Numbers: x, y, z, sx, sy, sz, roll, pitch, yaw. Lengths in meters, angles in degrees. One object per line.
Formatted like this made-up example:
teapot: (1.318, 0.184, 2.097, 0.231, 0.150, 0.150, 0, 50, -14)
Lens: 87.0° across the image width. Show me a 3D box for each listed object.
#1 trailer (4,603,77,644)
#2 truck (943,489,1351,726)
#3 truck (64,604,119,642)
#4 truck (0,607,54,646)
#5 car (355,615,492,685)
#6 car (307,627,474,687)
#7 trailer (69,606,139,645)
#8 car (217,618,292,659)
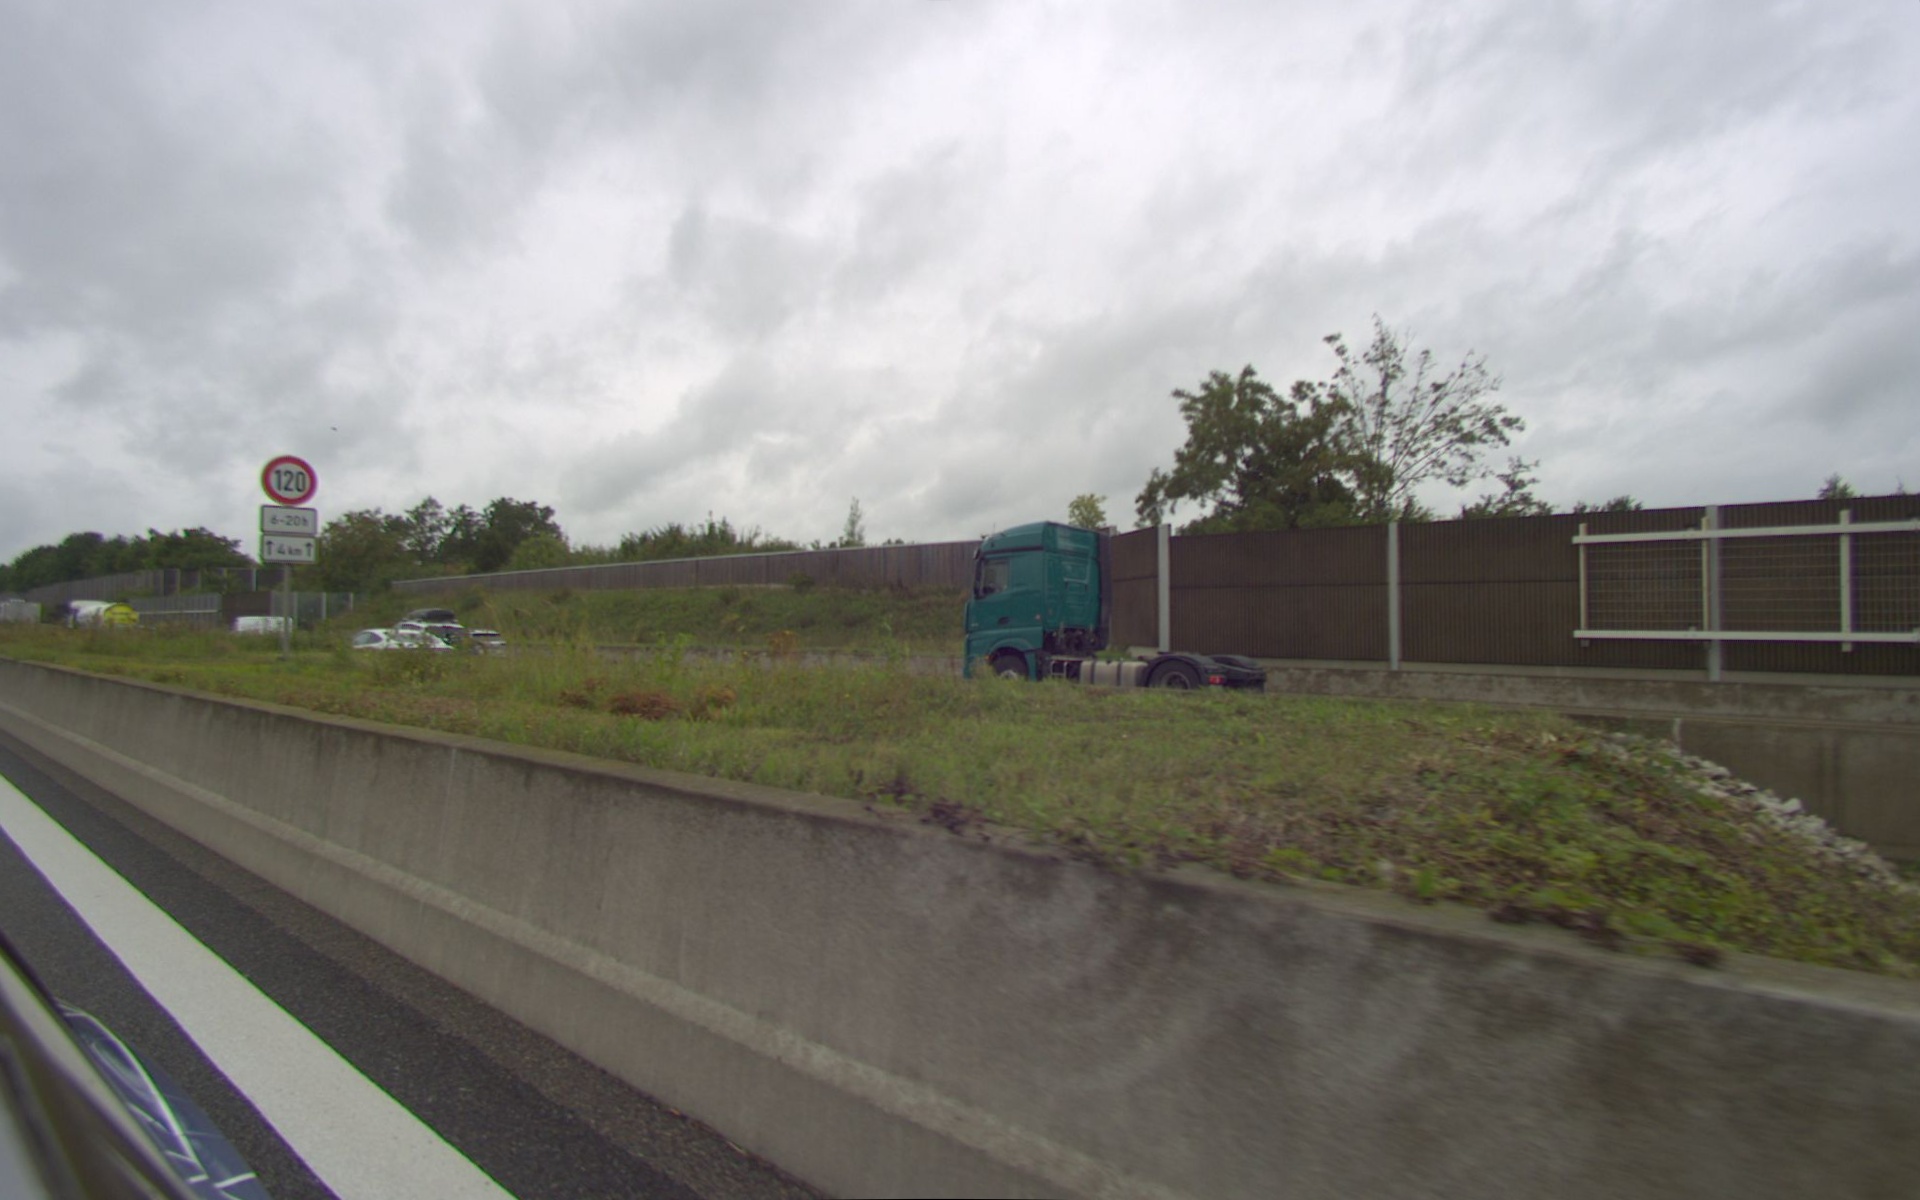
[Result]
trailer: (-70.996, 1.794, 78.034, 10.563, 2.981, 2.925, -1, 0, 41)
truck: (3.426, 0.160, 20.036, 7.517, 3.867, 2.833, -1, 0, 40)
truck: (-73.857, 1.946, 86.042, 5.607, 3.042, 2.596, -1, 0, 39)
truck: (-78.223, 2.192, 84.384, 8.722, 3.090, 2.925, -1, 0, 41)
car: (-17.292, 1.538, 32.494, 5.615, 2.029, 1.973, -1, -1, 41)
car: (-14.126, 1.335, 24.979, 5.225, 1.296, 1.973, -1, -1, 41)
trailer: (-70.338, 2.055, 83.080, 10.787, 3.012, 2.585, -1, -1, 40)
car: (-37.568, 2.025, 53.797, 5.950, 2.029, 1.887, -1, -1, 41)
